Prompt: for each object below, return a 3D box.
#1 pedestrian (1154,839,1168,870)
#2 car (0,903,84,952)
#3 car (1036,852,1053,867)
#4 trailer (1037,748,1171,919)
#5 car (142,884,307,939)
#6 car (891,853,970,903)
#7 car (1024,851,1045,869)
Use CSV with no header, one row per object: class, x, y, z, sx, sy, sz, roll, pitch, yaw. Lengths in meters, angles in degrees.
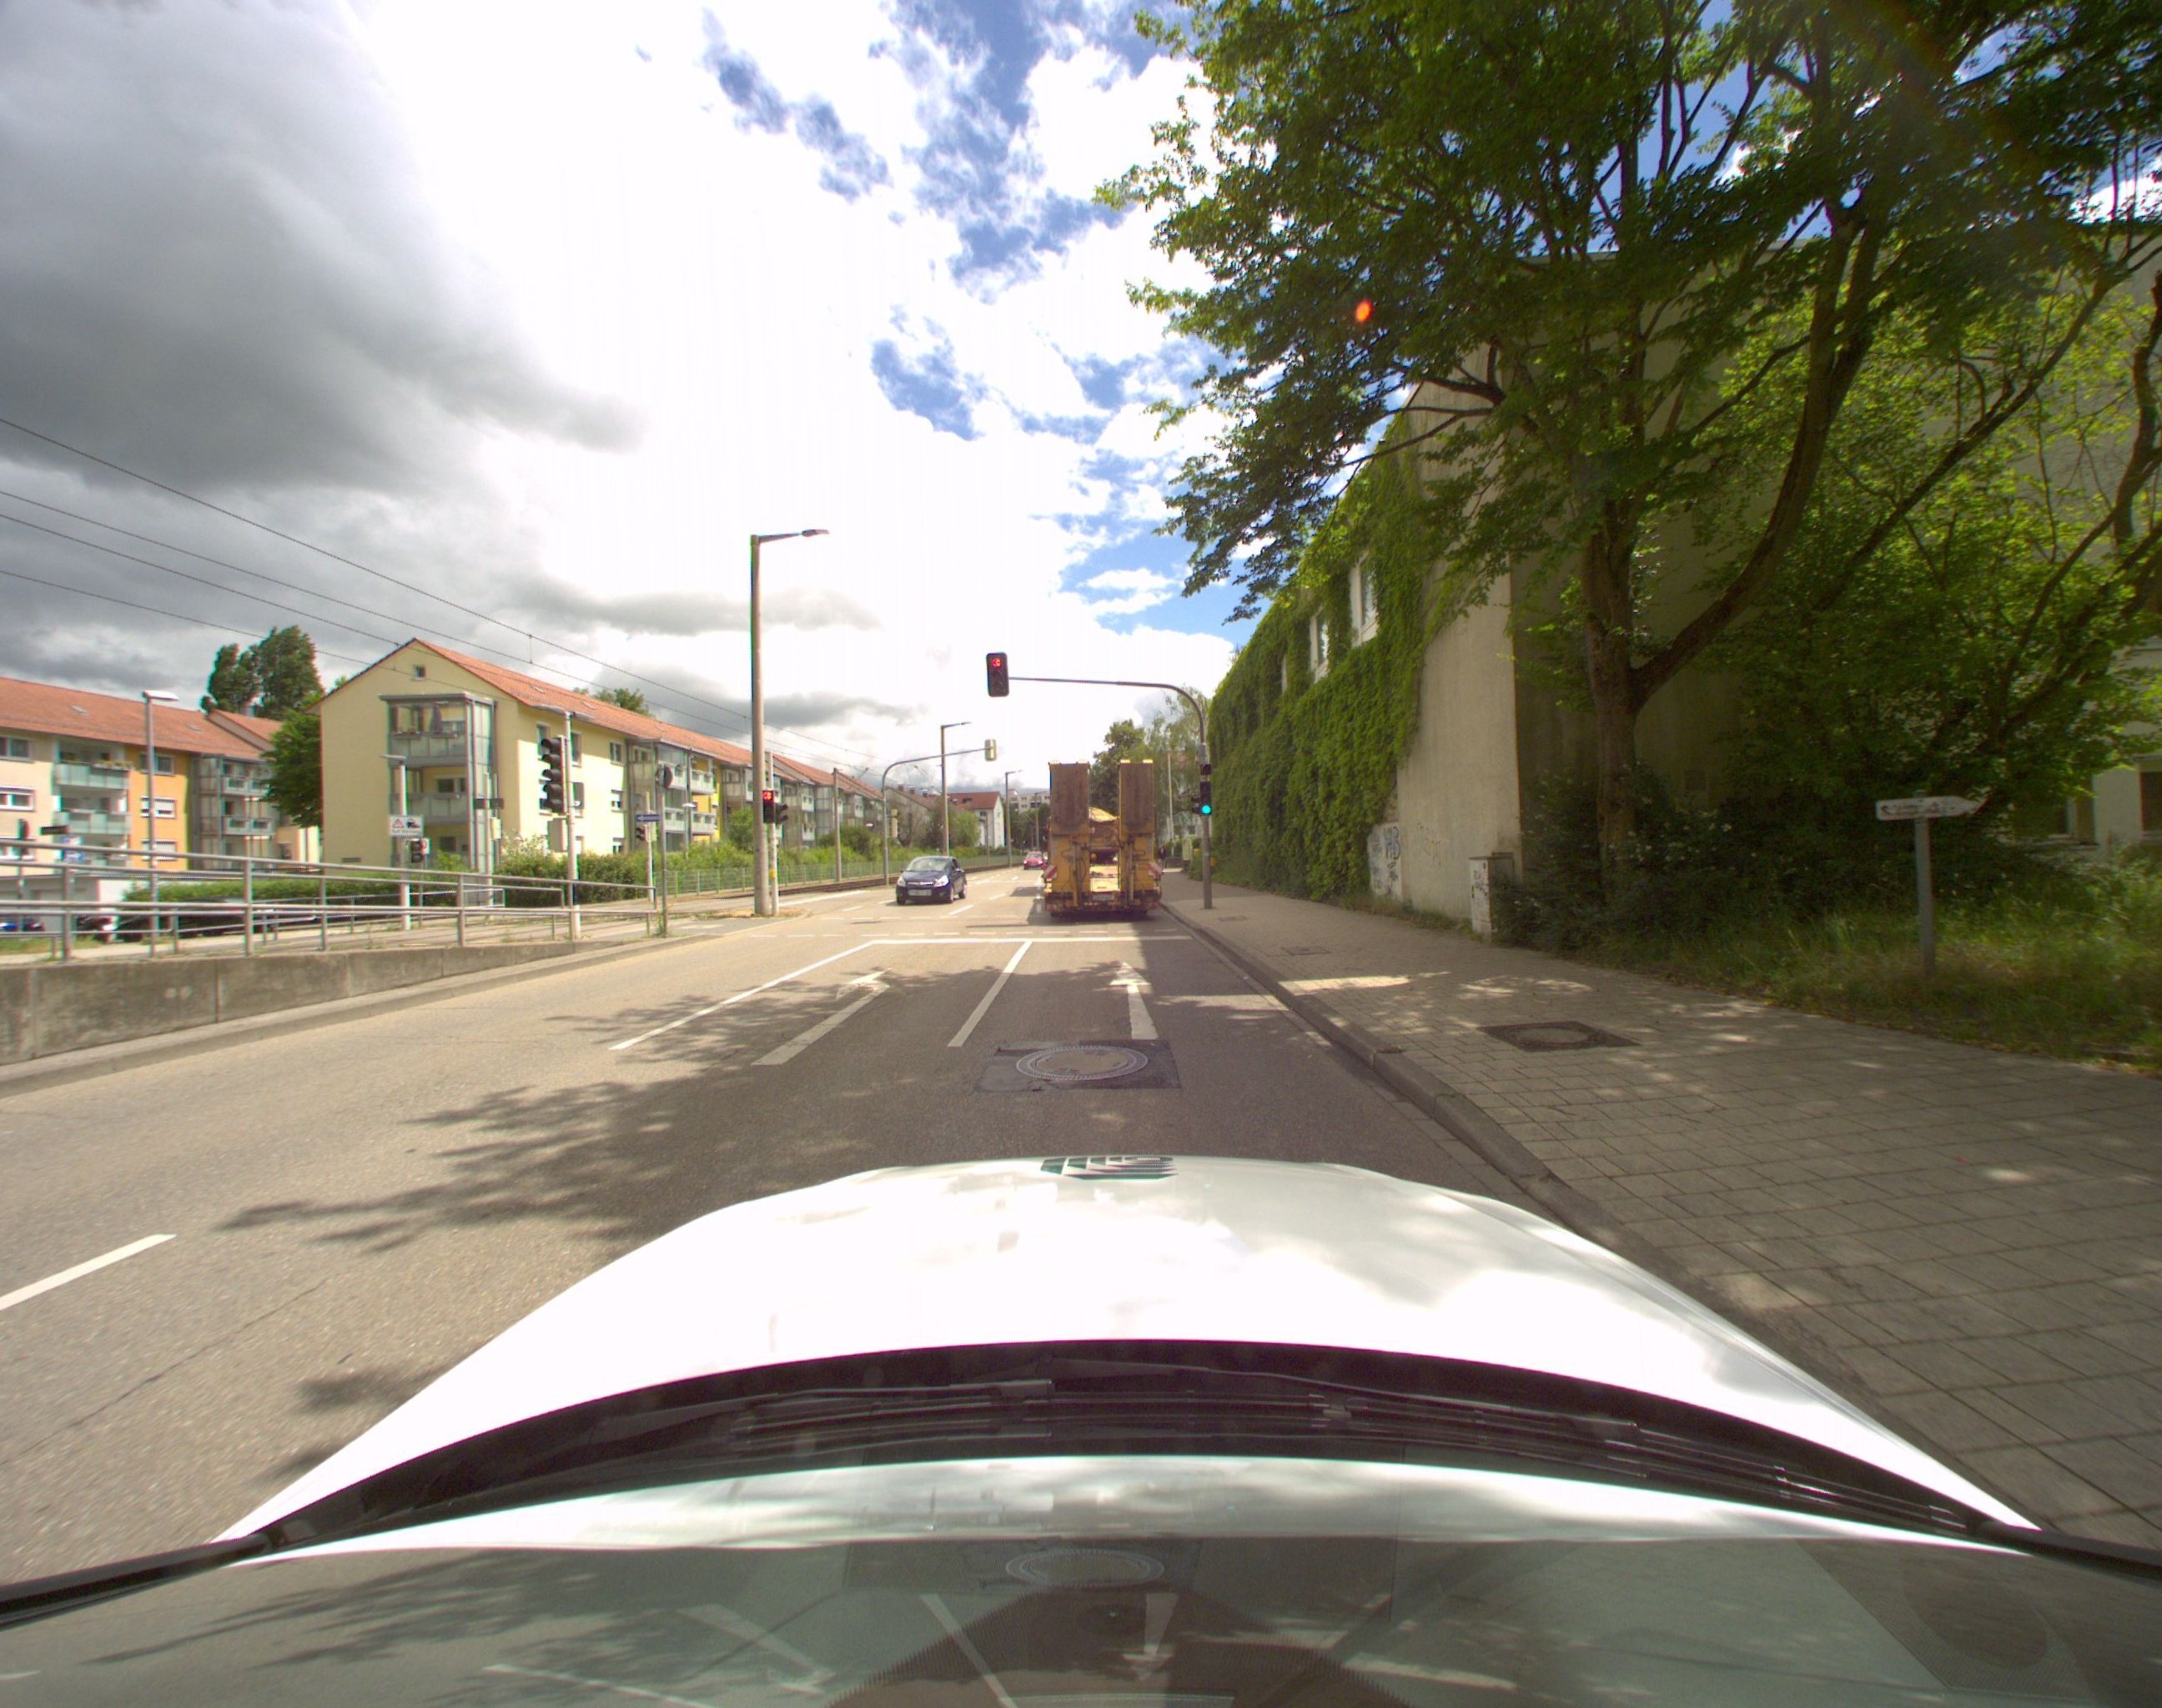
pedestrian,4.678,0.023,47.628,0.805,1.771,0.818,0,0,7
car,-38.287,2.697,28.814,3.963,1.466,2.005,-5,-1,9
car,-3.985,0.605,89.367,1.755,1.552,3.998,-1,0,-1
trailer,0.179,-0.442,23.612,2.821,3.646,12.338,0,0,-3
car,-29.952,2.000,28.536,3.963,1.466,2.005,-5,-1,9
car,-4.720,0.713,26.059,1.712,1.441,4.009,-1,0,0
car,-4.216,0.508,73.870,1.658,1.552,3.999,0,0,0
